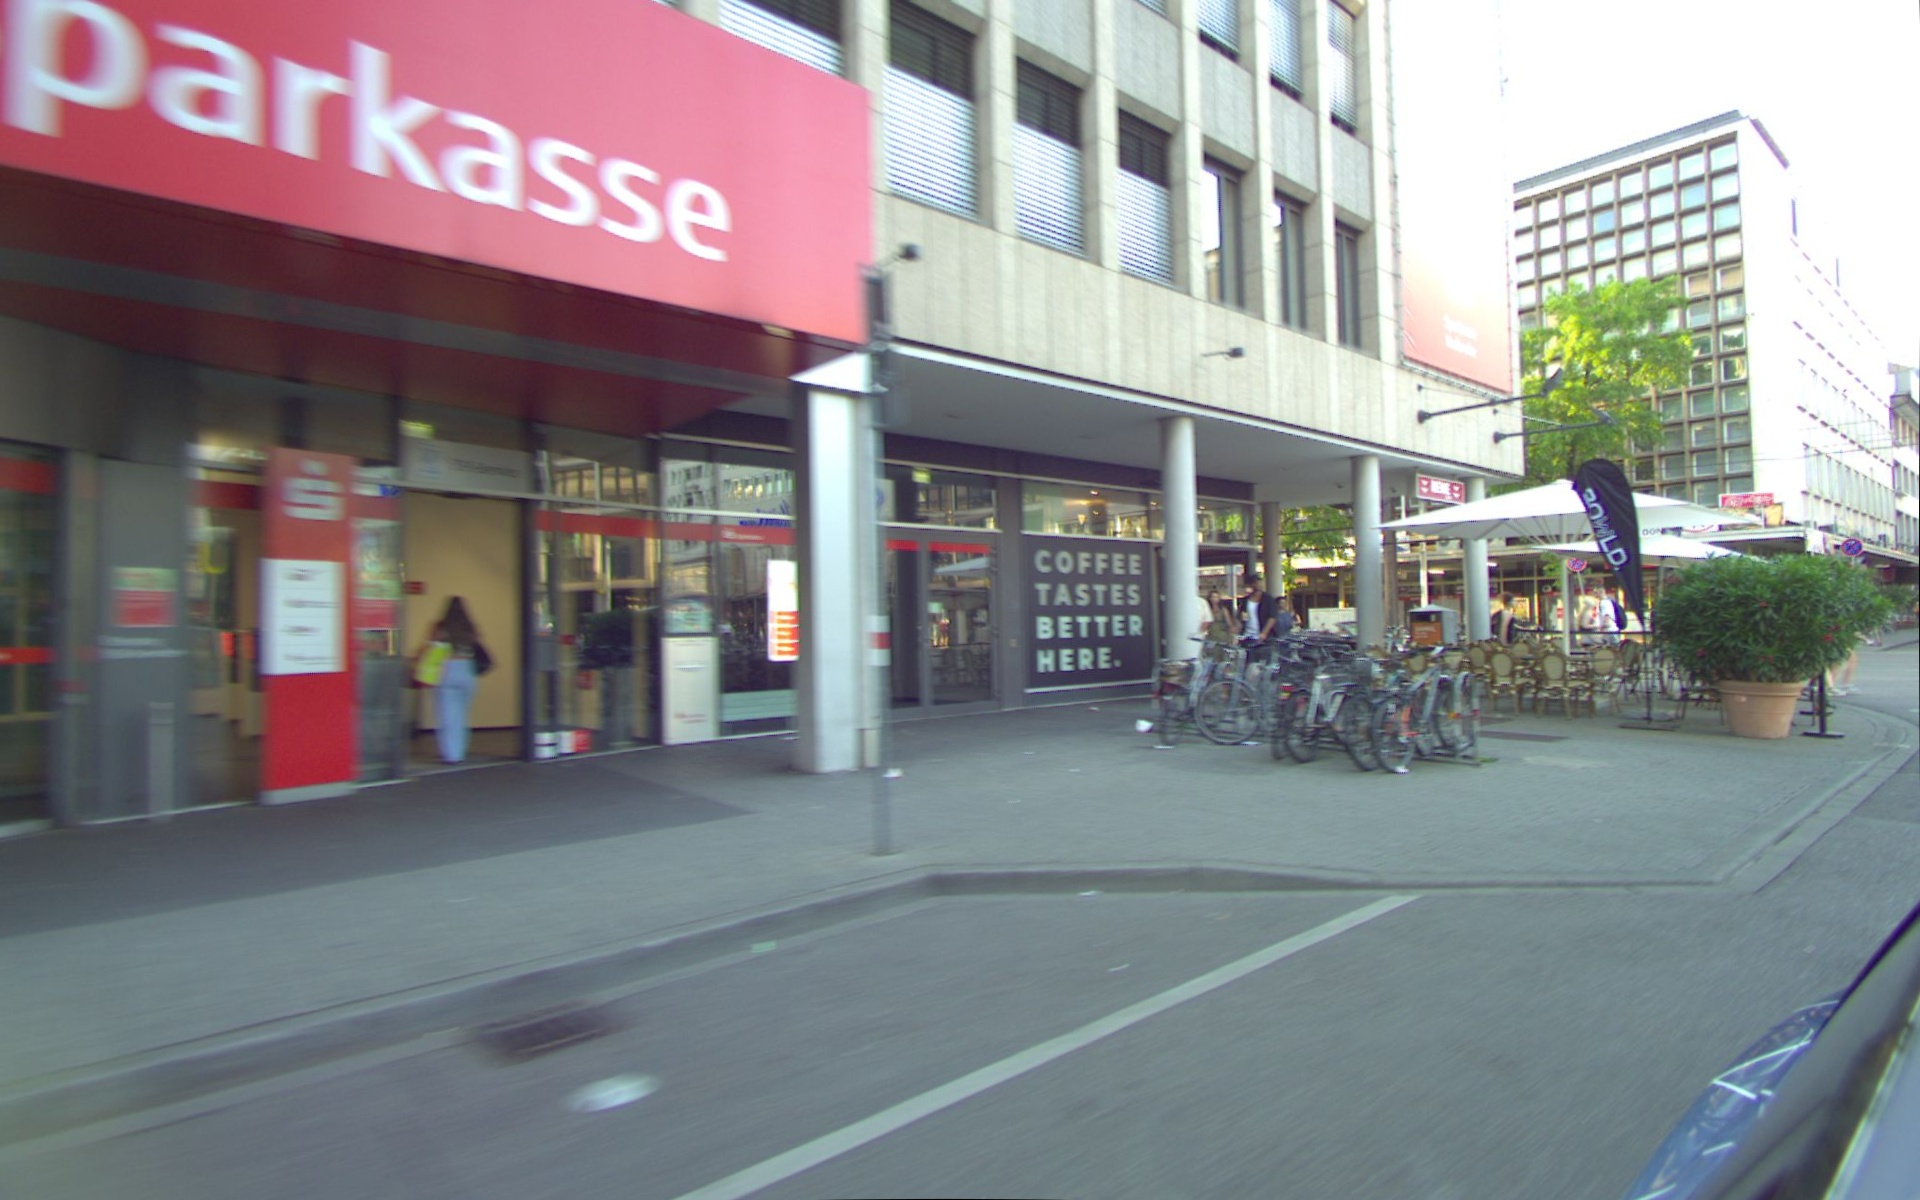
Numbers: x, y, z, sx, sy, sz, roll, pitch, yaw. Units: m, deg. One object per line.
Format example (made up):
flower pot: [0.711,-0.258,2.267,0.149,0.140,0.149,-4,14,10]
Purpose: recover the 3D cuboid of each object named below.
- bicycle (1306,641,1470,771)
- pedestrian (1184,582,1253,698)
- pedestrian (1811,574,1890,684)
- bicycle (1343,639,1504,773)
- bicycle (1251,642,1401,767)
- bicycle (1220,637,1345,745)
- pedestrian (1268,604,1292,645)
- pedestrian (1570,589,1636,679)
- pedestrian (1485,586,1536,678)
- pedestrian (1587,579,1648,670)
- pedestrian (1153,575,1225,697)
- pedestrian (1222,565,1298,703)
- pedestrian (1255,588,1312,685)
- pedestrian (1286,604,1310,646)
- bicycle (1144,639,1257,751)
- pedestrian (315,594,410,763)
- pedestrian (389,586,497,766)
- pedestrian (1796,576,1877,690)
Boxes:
bicycle: [3.924,0.920,9.209,1.827,1.046,0.383,0,-1,-32]
pedestrian: [4.094,0.620,16.041,0.676,1.784,0.798,0,-2,-44]
pedestrian: [14.358,0.464,16.315,0.755,1.711,0.795,0,-2,-38]
bicycle: [4.110,0.891,8.912,1.827,1.046,0.330,0,-1,-32]
bicycle: [3.528,0.956,9.681,1.829,1.046,0.383,0,-1,-37]
bicycle: [3.575,0.962,11.134,1.831,1.046,0.382,0,-2,-40]
pedestrian: [13.264,1.012,41.969,0.636,1.682,0.651,0,1,-22]
pedestrian: [11.697,0.602,18.402,0.756,1.586,0.795,0,-2,-41]
pedestrian: [10.584,0.612,19.454,0.789,1.711,0.761,-2,-2,30]
pedestrian: [12.600,0.467,19.418,0.786,1.711,0.764,-1,-1,21]
pedestrian: [3.450,0.533,15.264,0.797,1.784,0.676,-2,-2,45]
pedestrian: [4.367,0.486,14.728,0.676,1.943,0.797,0,-2,-44]
pedestrian: [6.061,0.673,19.007,0.784,1.784,0.687,-1,-1,-2]
pedestrian: [13.860,1.036,41.508,0.636,1.682,0.651,0,1,-22]
bicycle: [2.605,0.972,10.833,0.381,1.046,1.837,-2,-1,40]
pedestrian: [-6.235,0.798,10.556,0.739,1.683,0.640,-4,-3,40]
pedestrian: [-5.101,0.723,9.982,0.687,1.683,0.719,-4,-3,38]
pedestrian: [13.707,0.502,15.827,0.755,1.711,0.795,0,-2,-38]
